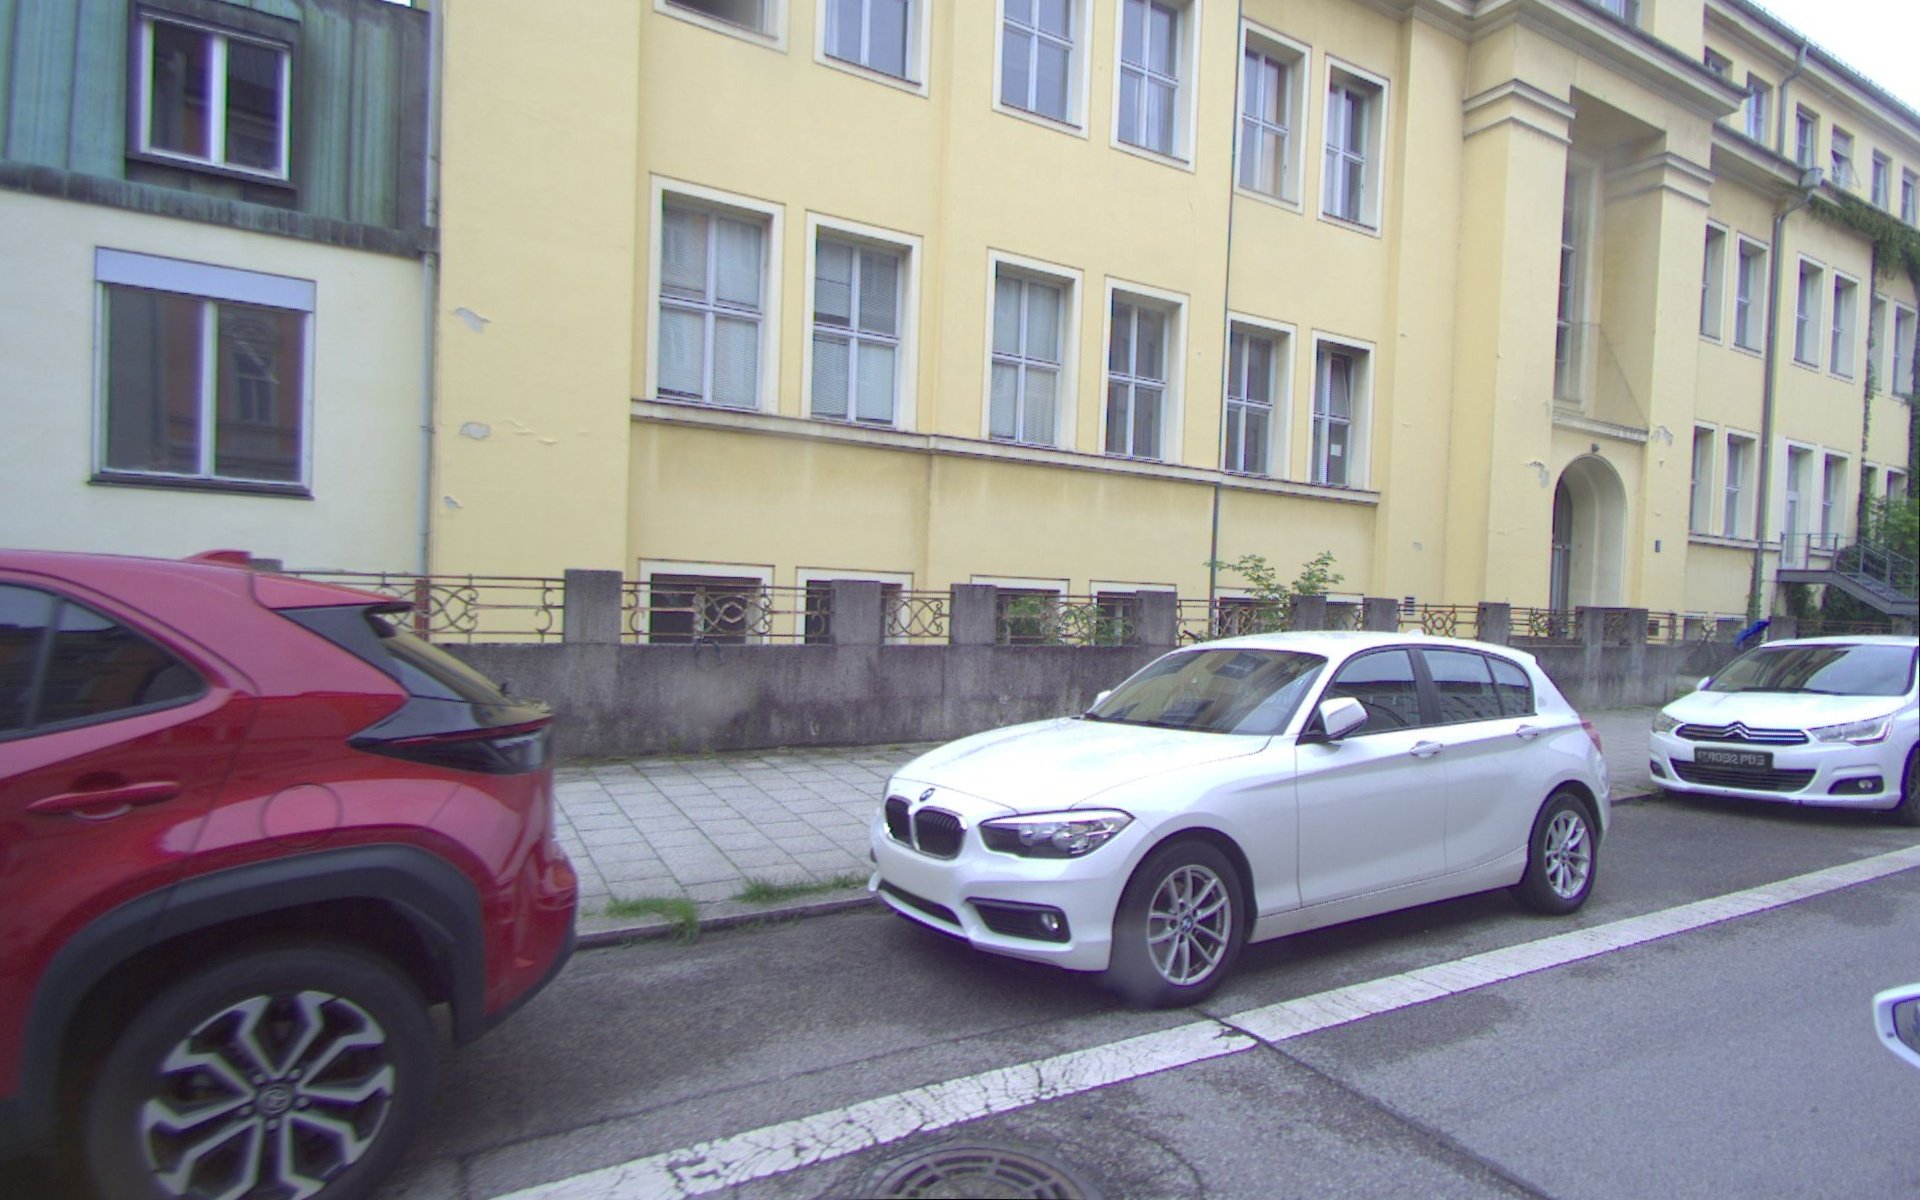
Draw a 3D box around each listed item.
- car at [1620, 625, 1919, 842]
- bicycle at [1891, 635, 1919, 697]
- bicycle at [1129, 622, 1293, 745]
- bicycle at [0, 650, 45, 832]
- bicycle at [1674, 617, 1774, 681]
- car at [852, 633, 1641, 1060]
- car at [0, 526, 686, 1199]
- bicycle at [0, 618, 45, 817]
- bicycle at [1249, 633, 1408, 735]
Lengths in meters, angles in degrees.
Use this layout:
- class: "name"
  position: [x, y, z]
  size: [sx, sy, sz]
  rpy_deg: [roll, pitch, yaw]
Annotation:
- class: "car"
  position: [7.885, 1.027, 8.956]
  size: [4.039, 1.547, 1.715]
  rpy_deg: [1, -2, -30]
- class: "bicycle"
  position: [19.795, 1.358, 20.549]
  size: [1.543, 1.205, 0.574]
  rpy_deg: [2, 3, -29]
- class: "bicycle"
  position: [2.705, 0.873, 10.799]
  size: [1.694, 1.214, 0.584]
  rpy_deg: [1, 3, -27]
- class: "bicycle"
  position: [-6.337, 0.805, 5.626]
  size: [1.718, 1.009, 0.453]
  rpy_deg: [1, 3, -27]
- class: "bicycle"
  position: [16.515, 1.039, 21.758]
  size: [0.572, 1.205, 1.549]
  rpy_deg: [2, 3, -30]
- class: "car"
  position: [1.593, 0.891, 5.124]
  size: [3.953, 1.416, 1.666]
  rpy_deg: [2, -3, -32]
- class: "car"
  position: [-2.833, 0.662, 2.311]
  size: [3.953, 1.587, 1.666]
  rpy_deg: [2, -2, -32]
- class: "bicycle"
  position: [-6.718, 0.700, 5.915]
  size: [1.912, 1.188, 0.422]
  rpy_deg: [1, 3, -27]
- class: "bicycle"
  position: [4.290, 0.968, 11.702]
  size: [1.689, 1.092, 0.585]
  rpy_deg: [2, 2, -18]
